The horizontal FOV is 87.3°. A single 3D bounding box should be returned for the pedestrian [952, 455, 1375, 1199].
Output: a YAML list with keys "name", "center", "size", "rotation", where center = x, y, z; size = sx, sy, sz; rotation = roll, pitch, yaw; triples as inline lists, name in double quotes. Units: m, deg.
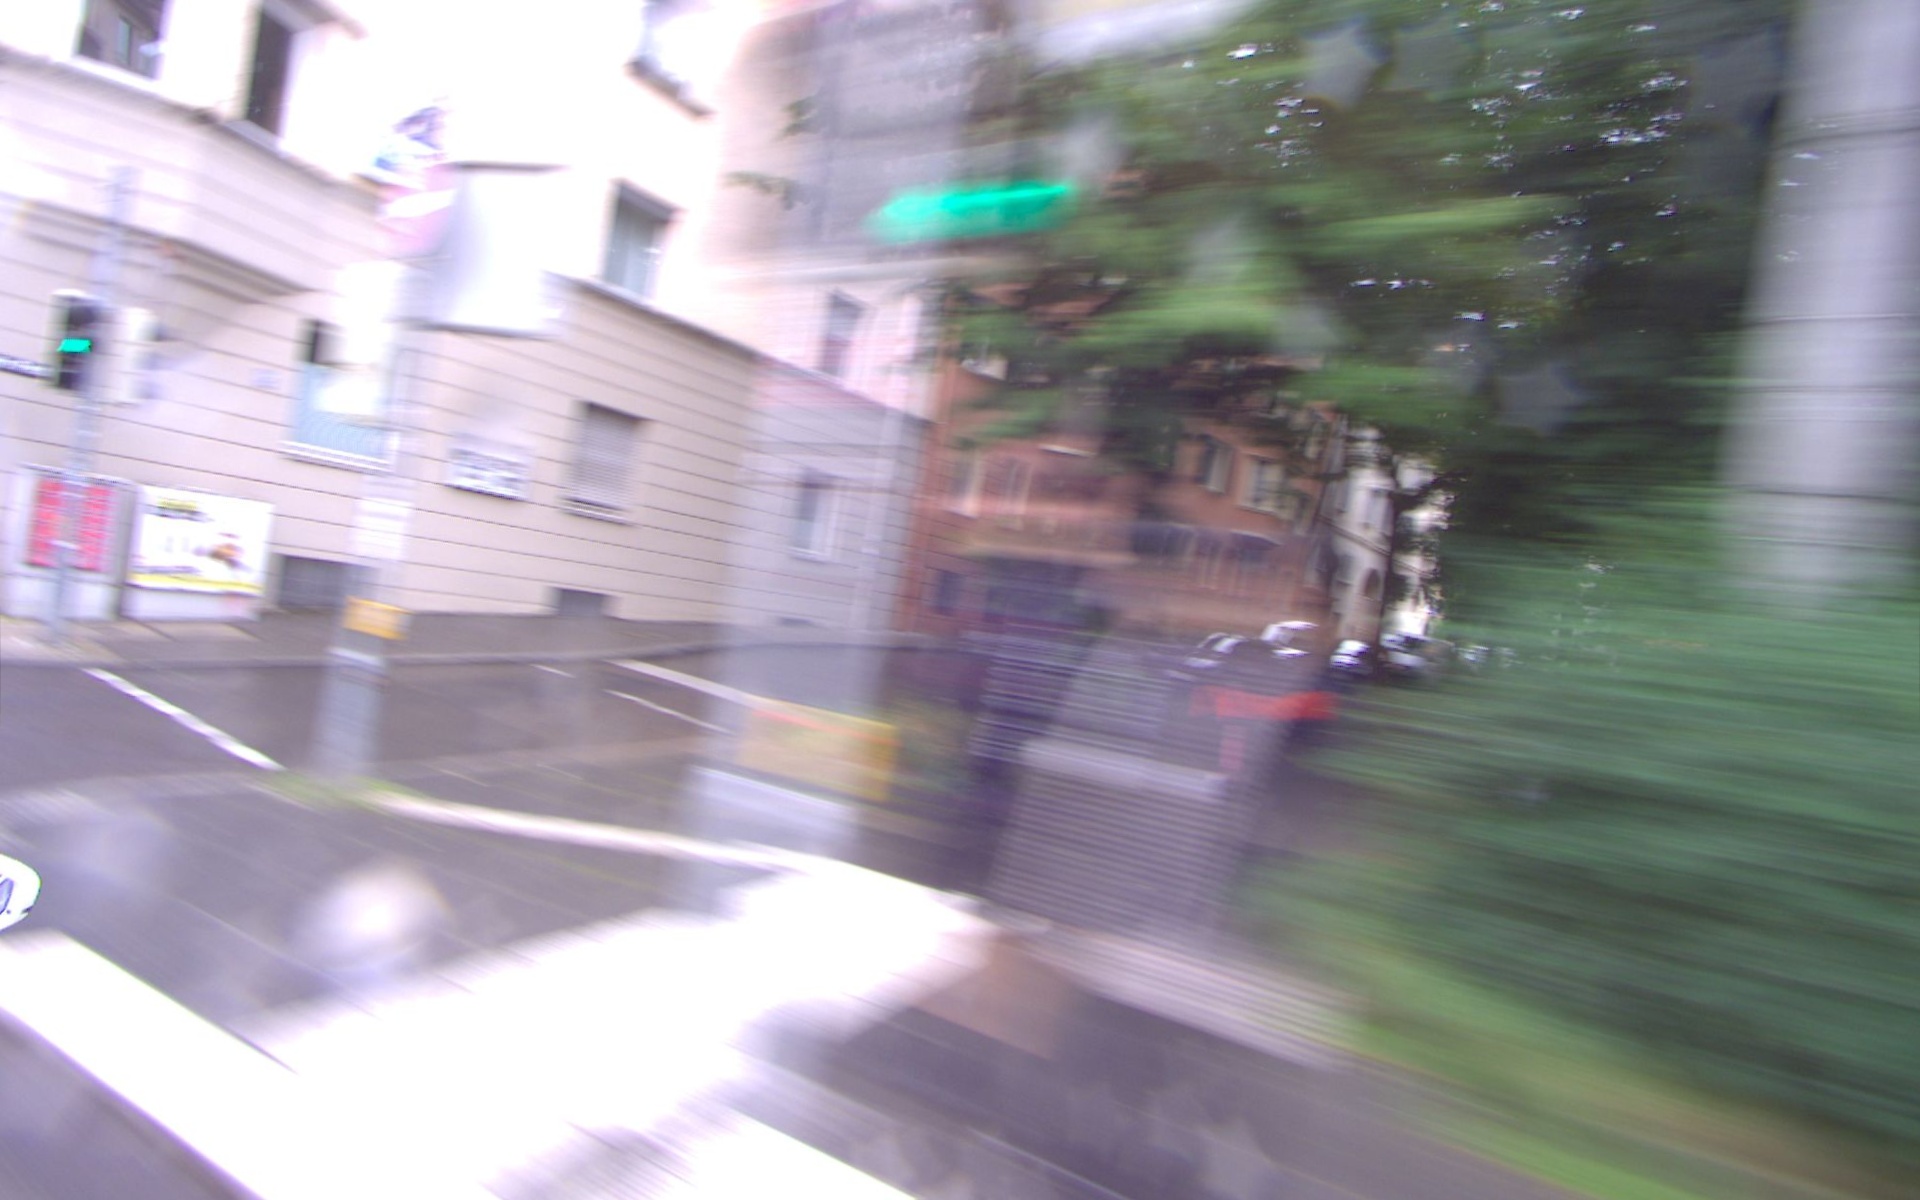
- name: "pedestrian"
  center: [0.490, 0.596, 2.311]
  size: [0.547, 1.715, 0.696]
  rotation: [7, 0, 34]

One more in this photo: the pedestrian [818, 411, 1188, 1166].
- name: "pedestrian"
  center: [0.131, 0.451, 2.838]
  size: [0.640, 1.835, 0.554]
  rotation: [7, 0, 34]

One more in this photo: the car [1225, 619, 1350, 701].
- name: "car"
  center: [8.307, 1.501, 25.287]
  size: [1.836, 1.711, 4.316]
  rotation: [6, 0, 32]

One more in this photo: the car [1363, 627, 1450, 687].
- name: "car"
  center: [15.012, 1.923, 33.675]
  size: [1.836, 1.711, 4.752]
  rotation: [6, 0, 32]

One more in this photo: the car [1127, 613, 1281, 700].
- name: "car"
  center: [5.090, 1.141, 20.631]
  size: [1.752, 1.438, 3.988]
  rotation: [6, 1, 33]
